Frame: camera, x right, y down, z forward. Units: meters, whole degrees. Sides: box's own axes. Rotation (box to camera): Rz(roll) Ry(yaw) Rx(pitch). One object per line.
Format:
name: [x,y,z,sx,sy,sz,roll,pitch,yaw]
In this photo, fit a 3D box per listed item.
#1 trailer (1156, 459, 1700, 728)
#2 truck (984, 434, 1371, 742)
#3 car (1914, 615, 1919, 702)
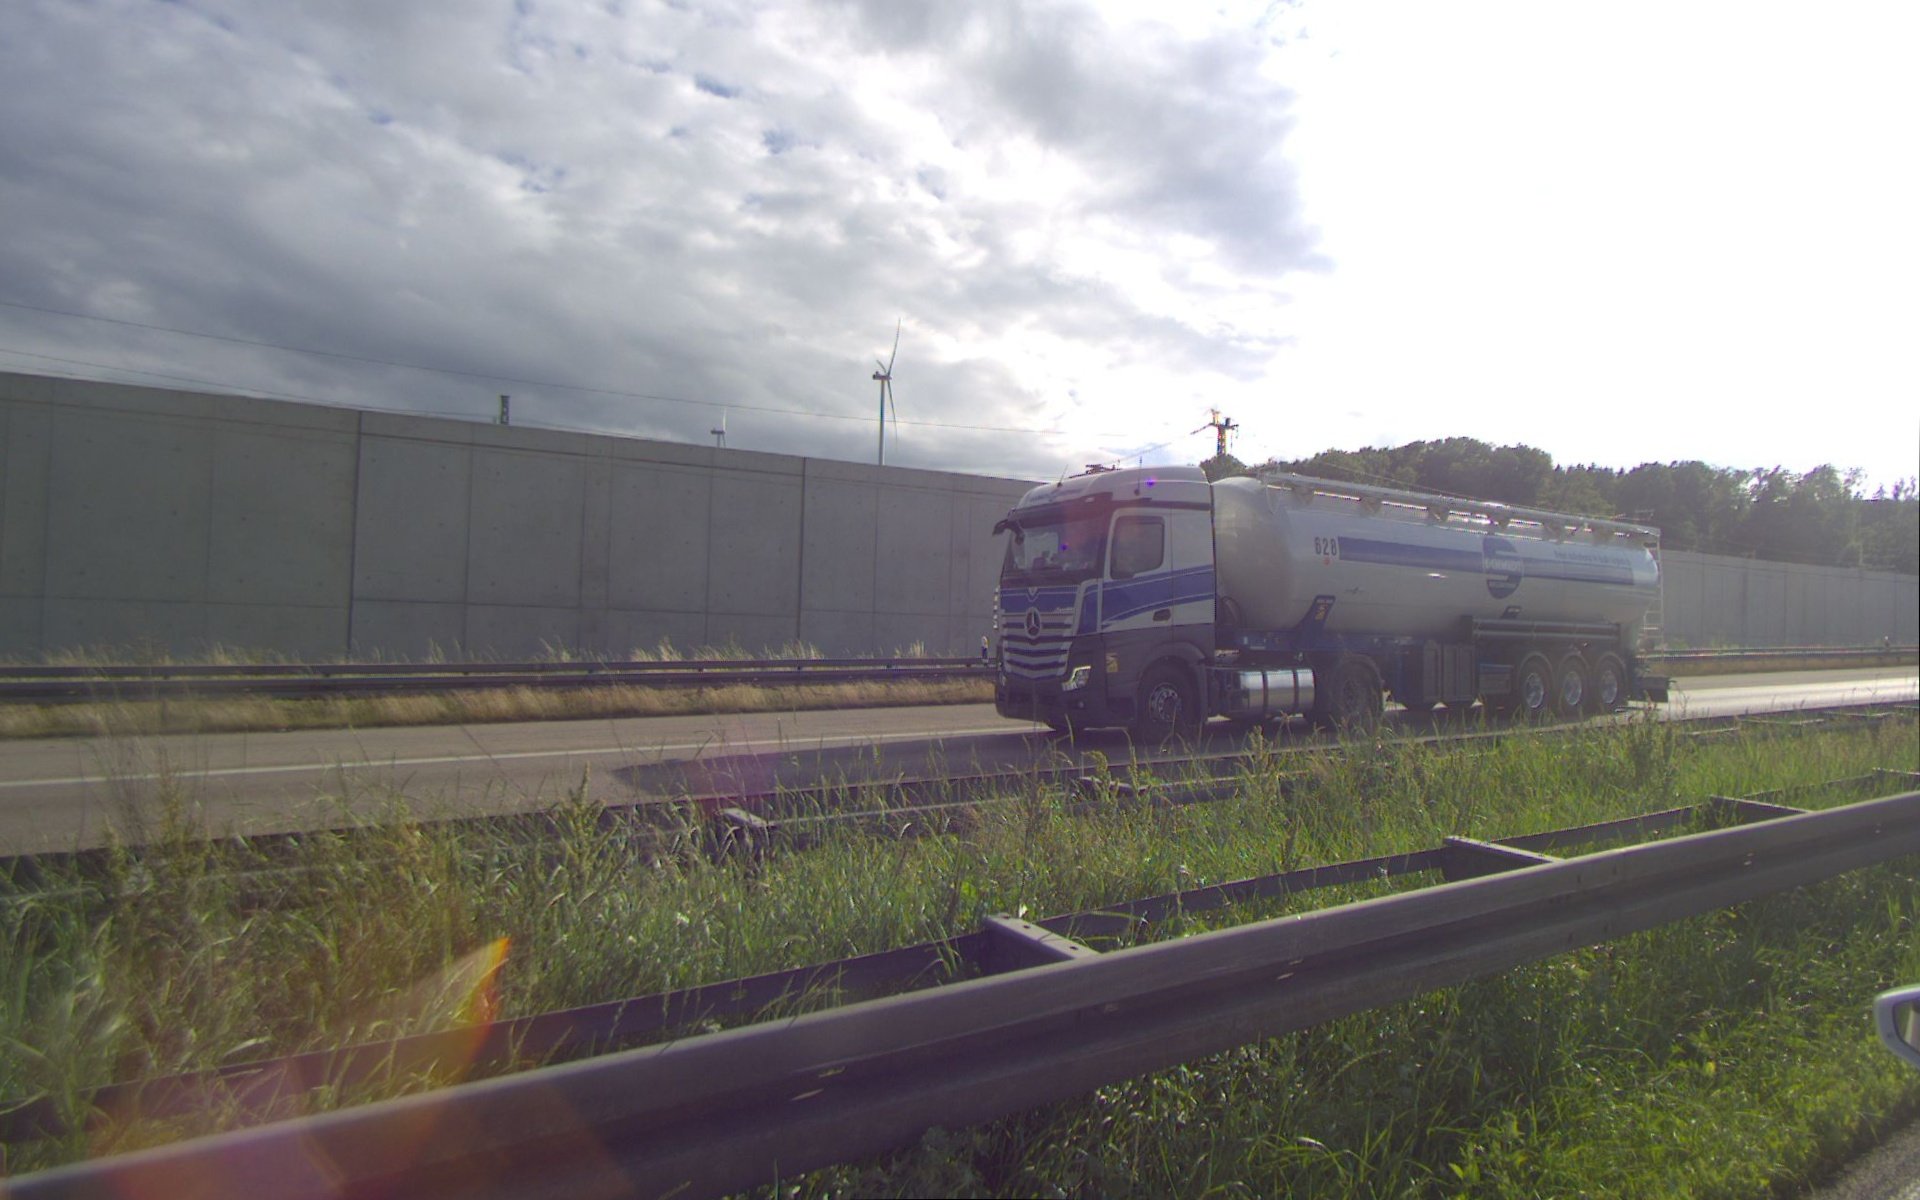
trailer: [9.184,0.131,18.520,12.394,3.820,2.528,2,-2,-30]
truck: [3.307,-0.039,14.998,5.354,3.848,2.541,2,-2,-30]
car: [22.937,1.343,21.984,4.231,1.858,1.851,2,0,-30]
